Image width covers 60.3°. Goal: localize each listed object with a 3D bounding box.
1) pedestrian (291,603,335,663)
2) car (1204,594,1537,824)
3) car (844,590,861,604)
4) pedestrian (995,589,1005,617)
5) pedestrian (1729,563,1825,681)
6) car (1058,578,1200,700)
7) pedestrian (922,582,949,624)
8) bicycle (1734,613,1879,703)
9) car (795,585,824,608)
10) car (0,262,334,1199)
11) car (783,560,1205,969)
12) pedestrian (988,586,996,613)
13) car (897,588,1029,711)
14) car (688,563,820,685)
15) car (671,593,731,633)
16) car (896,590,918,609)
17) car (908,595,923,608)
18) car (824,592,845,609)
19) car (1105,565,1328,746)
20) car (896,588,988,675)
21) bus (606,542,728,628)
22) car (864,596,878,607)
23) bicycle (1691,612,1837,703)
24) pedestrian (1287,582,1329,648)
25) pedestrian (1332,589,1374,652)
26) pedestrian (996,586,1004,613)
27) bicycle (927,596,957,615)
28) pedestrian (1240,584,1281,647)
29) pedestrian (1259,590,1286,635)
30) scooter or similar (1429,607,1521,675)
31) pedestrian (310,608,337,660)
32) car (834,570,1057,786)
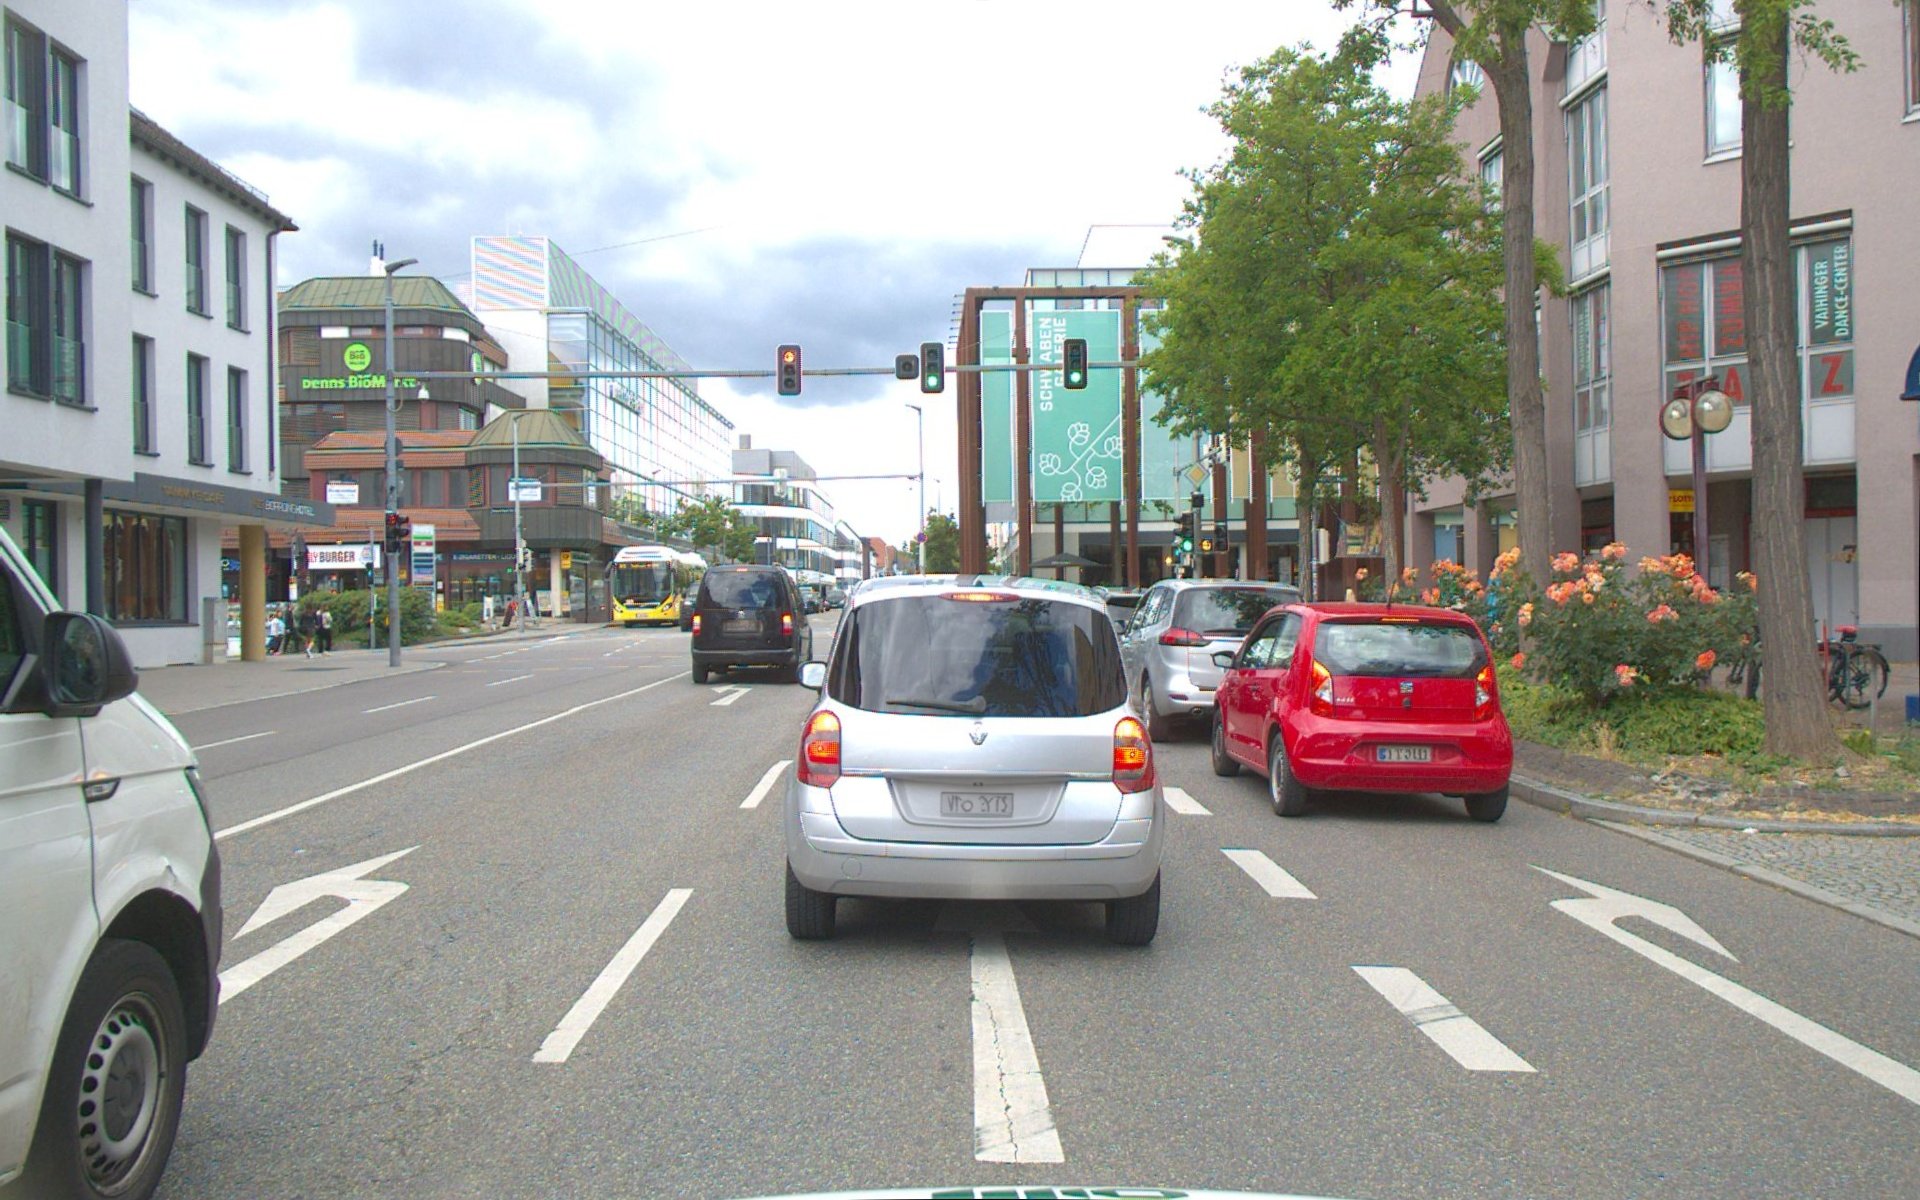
[{"bbox_3d":[-19.599,0.986,50.123,0.928,1.786,0.945,-1,0,0],"label":"pedestrian"},{"bbox_3d":[2.977,0.716,12.723,1.593,1.473,3.641,1,0,-1],"label":"car"},{"bbox_3d":[-11.899,-0.357,183.457,1.626,1.491,4.000,-2,0,-1],"label":"car"},{"bbox_3d":[1.804,0.139,74.543,0.438,1.241,0.607,-1,0,2],"label":"pedestrian"},{"bbox_3d":[11.827,0.313,23.978,0.792,1.654,1.093,-1,0,-3],"label":"pedestrian"},{"bbox_3d":[2.585,0.555,26.142,1.704,1.730,4.380,1,0,-1],"label":"car"},{"bbox_3d":[-0.975,0.118,66.667,0.854,1.675,0.678,0,0,33],"label":"pedestrian"},{"bbox_3d":[10.453,0.699,20.457,1.541,1.067,0.404,-1,0,41],"label":"bicycle"},{"bbox_3d":[-10.476,-0.243,115.180,1.626,1.491,4.000,-2,0,-1],"label":"car"},{"bbox_3d":[-2.695,0.411,2.155,1.953,2.049,4.839,1,0,-1],"label":"car"},{"bbox_3d":[0.109,0.640,8.340,1.636,1.581,3.641,1,0,-1],"label":"car"},{"bbox_3d":[1.879,-0.055,97.005,0.418,1.576,0.481,-1,0,-3],"label":"pedestrian"},{"bbox_3d":[0.011,0.609,22.700,1.636,1.521,3.641,1,0,-1],"label":"car"},{"bbox_3d":[-3.384,0.358,27.862,1.673,1.852,4.571,1,0,-1],"label":"car"},{"bbox_3d":[-9.997,0.483,64.117,1.723,1.474,4.035,-1,0,-1],"label":"car"},{"bbox_3d":[-4.228,-0.063,133.075,1.626,1.491,4.000,-2,0,-1],"label":"car"},{"bbox_3d":[-5.199,0.163,192.520,1.626,1.491,4.000,-2,0,-1],"label":"car"},{"bbox_3d":[-11.789,0.014,155.533,1.626,1.491,4.000,-2,0,-1],"label":"car"},{"bbox_3d":[2.692,0.528,18.303,1.704,1.730,4.380,1,0,-1],"label":"car"},{"bbox_3d":[-0.355,0.557,31.635,1.636,1.521,3.641,1,0,-1],"label":"car"},{"bbox_3d":[-12.974,-0.690,74.474,2.926,3.385,12.308,-3,1,1],"label":"bus"},{"bbox_3d":[-12.121,0.176,224.698,1.626,1.491,4.000,-2,0,-1],"label":"car"},{"bbox_3d":[9.817,0.687,20.226,1.541,1.067,0.404,-1,0,41],"label":"bicycle"},{"bbox_3d":[9.789,0.415,46.539,0.861,1.798,1.119,-1,0,-4],"label":"pedestrian"},{"bbox_3d":[11.321,0.576,47.645,0.861,1.798,1.119,-1,0,-4],"label":"pedestrian"},{"bbox_3d":[2.378,-0.046,97.162,0.418,1.576,0.481,-1,0,-3],"label":"pedestrian"},{"bbox_3d":[-0.972,0.279,88.062,1.528,1.010,0.752,-1,0,2],"label":"bicycle"},{"bbox_3d":[8.310,0.431,45.763,0.861,1.711,1.119,-1,0,-4],"label":"pedestrian"},{"bbox_3d":[11.587,0.455,61.374,0.805,1.623,1.039,0,0,-1],"label":"pedestrian"},{"bbox_3d":[8.679,0.676,27.945,0.462,1.106,1.878,-1,0,-18],"label":"scooter or similar"},{"bbox_3d":[-20.186,1.067,52.432,0.625,1.615,0.526,-1,0,0],"label":"pedestrian"},{"bbox_3d":[-0.132,0.573,14.212,1.636,1.581,3.641,1,0,-1],"label":"car"}]
